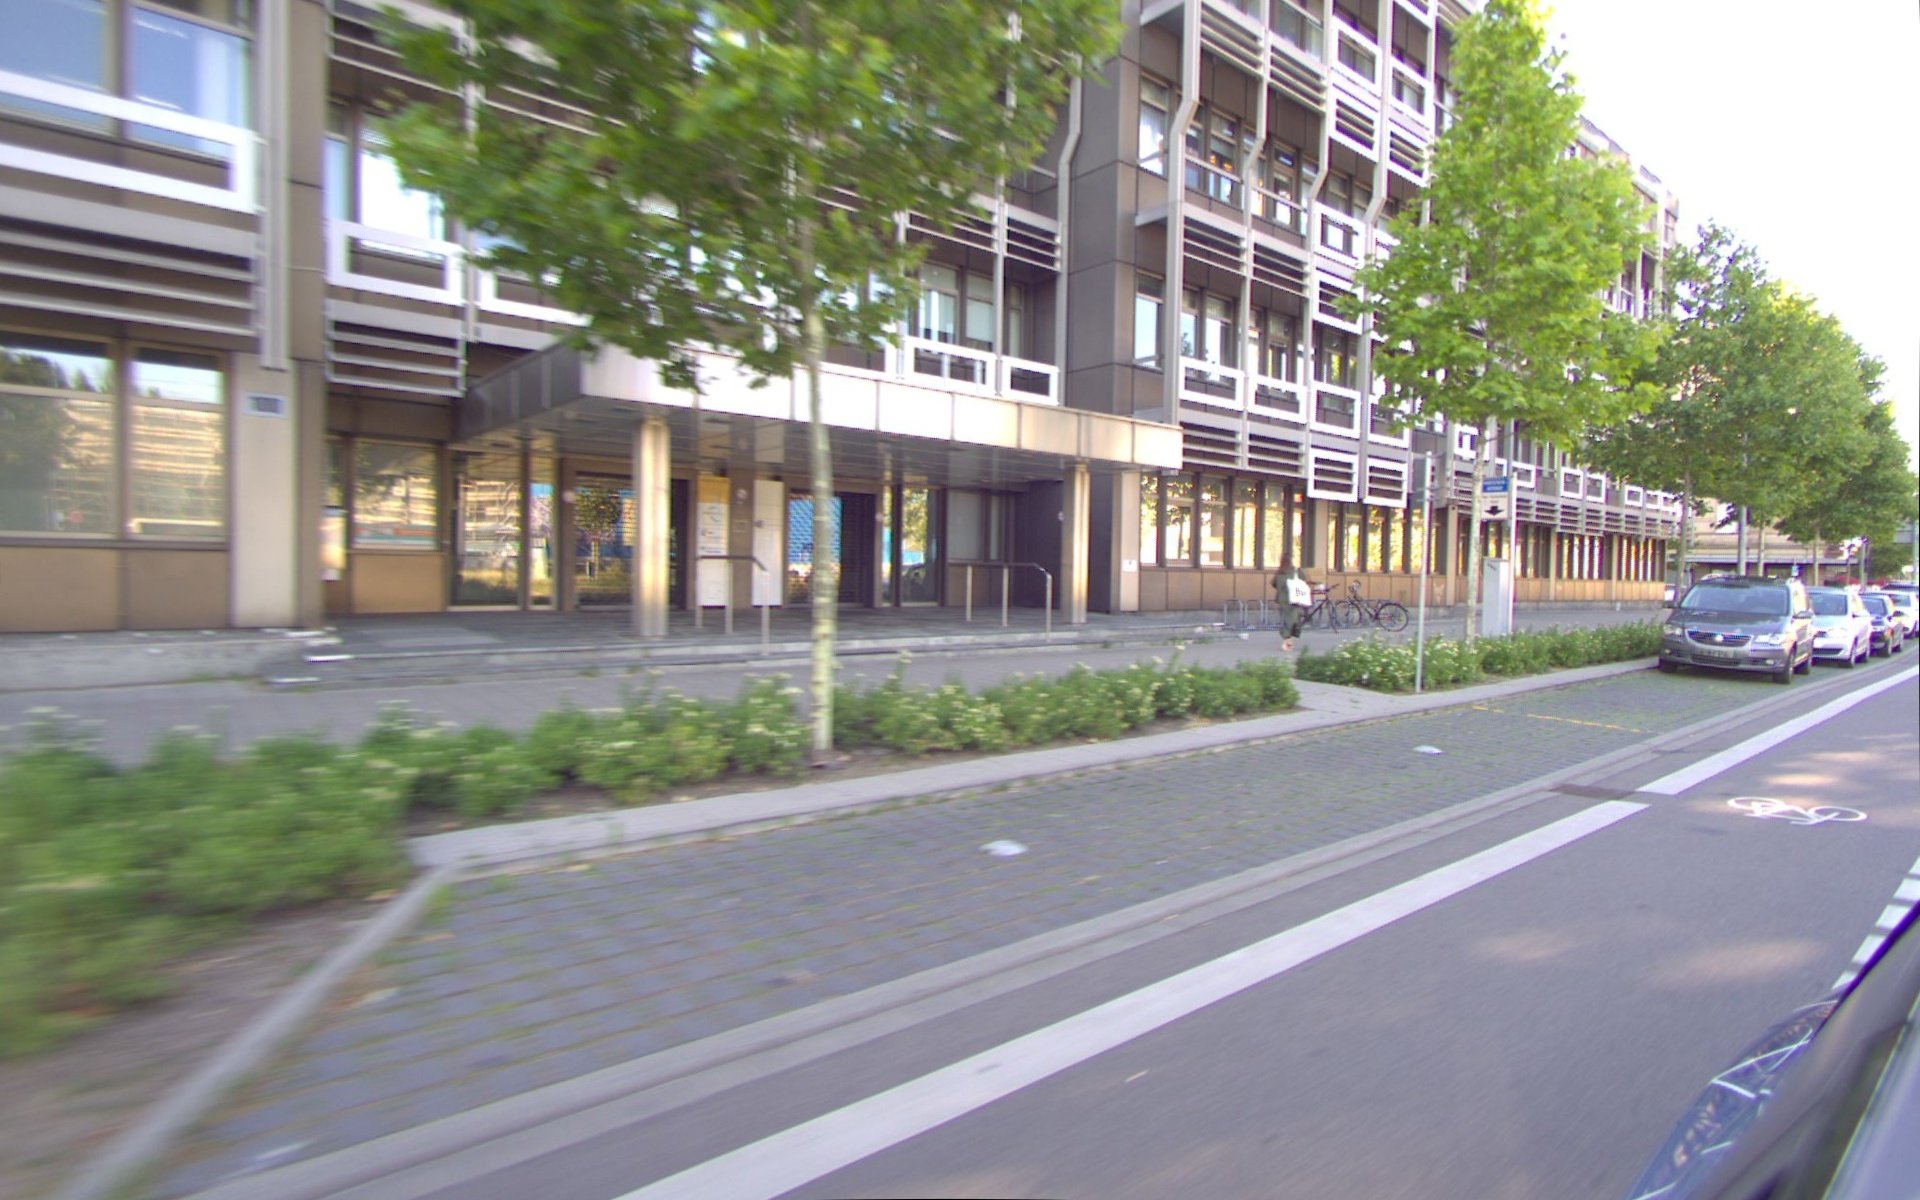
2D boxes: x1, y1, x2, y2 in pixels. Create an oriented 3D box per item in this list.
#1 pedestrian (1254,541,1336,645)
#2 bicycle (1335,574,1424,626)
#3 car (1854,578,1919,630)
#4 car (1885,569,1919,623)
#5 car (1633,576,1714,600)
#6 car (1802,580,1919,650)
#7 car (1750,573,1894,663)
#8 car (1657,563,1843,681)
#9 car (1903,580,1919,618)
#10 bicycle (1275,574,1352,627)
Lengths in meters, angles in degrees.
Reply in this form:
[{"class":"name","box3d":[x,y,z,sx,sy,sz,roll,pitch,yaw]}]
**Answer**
[{"class":"pedestrian","box3d":[5.616,-0.135,16.965,1.117,1.668,0.791,0,3,-41]},{"class":"bicycle","box3d":[9.830,-0.026,23.760,1.900,1.106,0.386,4,3,44]},{"class":"car","box3d":[30.082,0.110,32.362,4.130,1.508,1.667,0,4,-41]},{"class":"car","box3d":[37.100,-0.155,39.063,4.321,1.942,1.737,0,4,-44]},{"class":"car","box3d":[49.903,-0.865,70.813,4.530,1.615,1.838,2,3,38]},{"class":"car","box3d":[22.230,0.312,24.768,4.301,1.466,1.798,0,4,-42]},{"class":"car","box3d":[18.147,0.315,21.242,4.144,1.641,1.731,0,4,-43]},{"class":"car","box3d":[13.647,0.300,17.384,4.438,1.708,1.731,0,4,-43]},{"class":"car","box3d":[42.402,-0.022,43.959,1.931,1.618,4.628,5,4,42]},{"class":"bicycle","box3d":[7.846,-0.010,22.538,0.385,1.095,1.631,0,3,-39]}]
